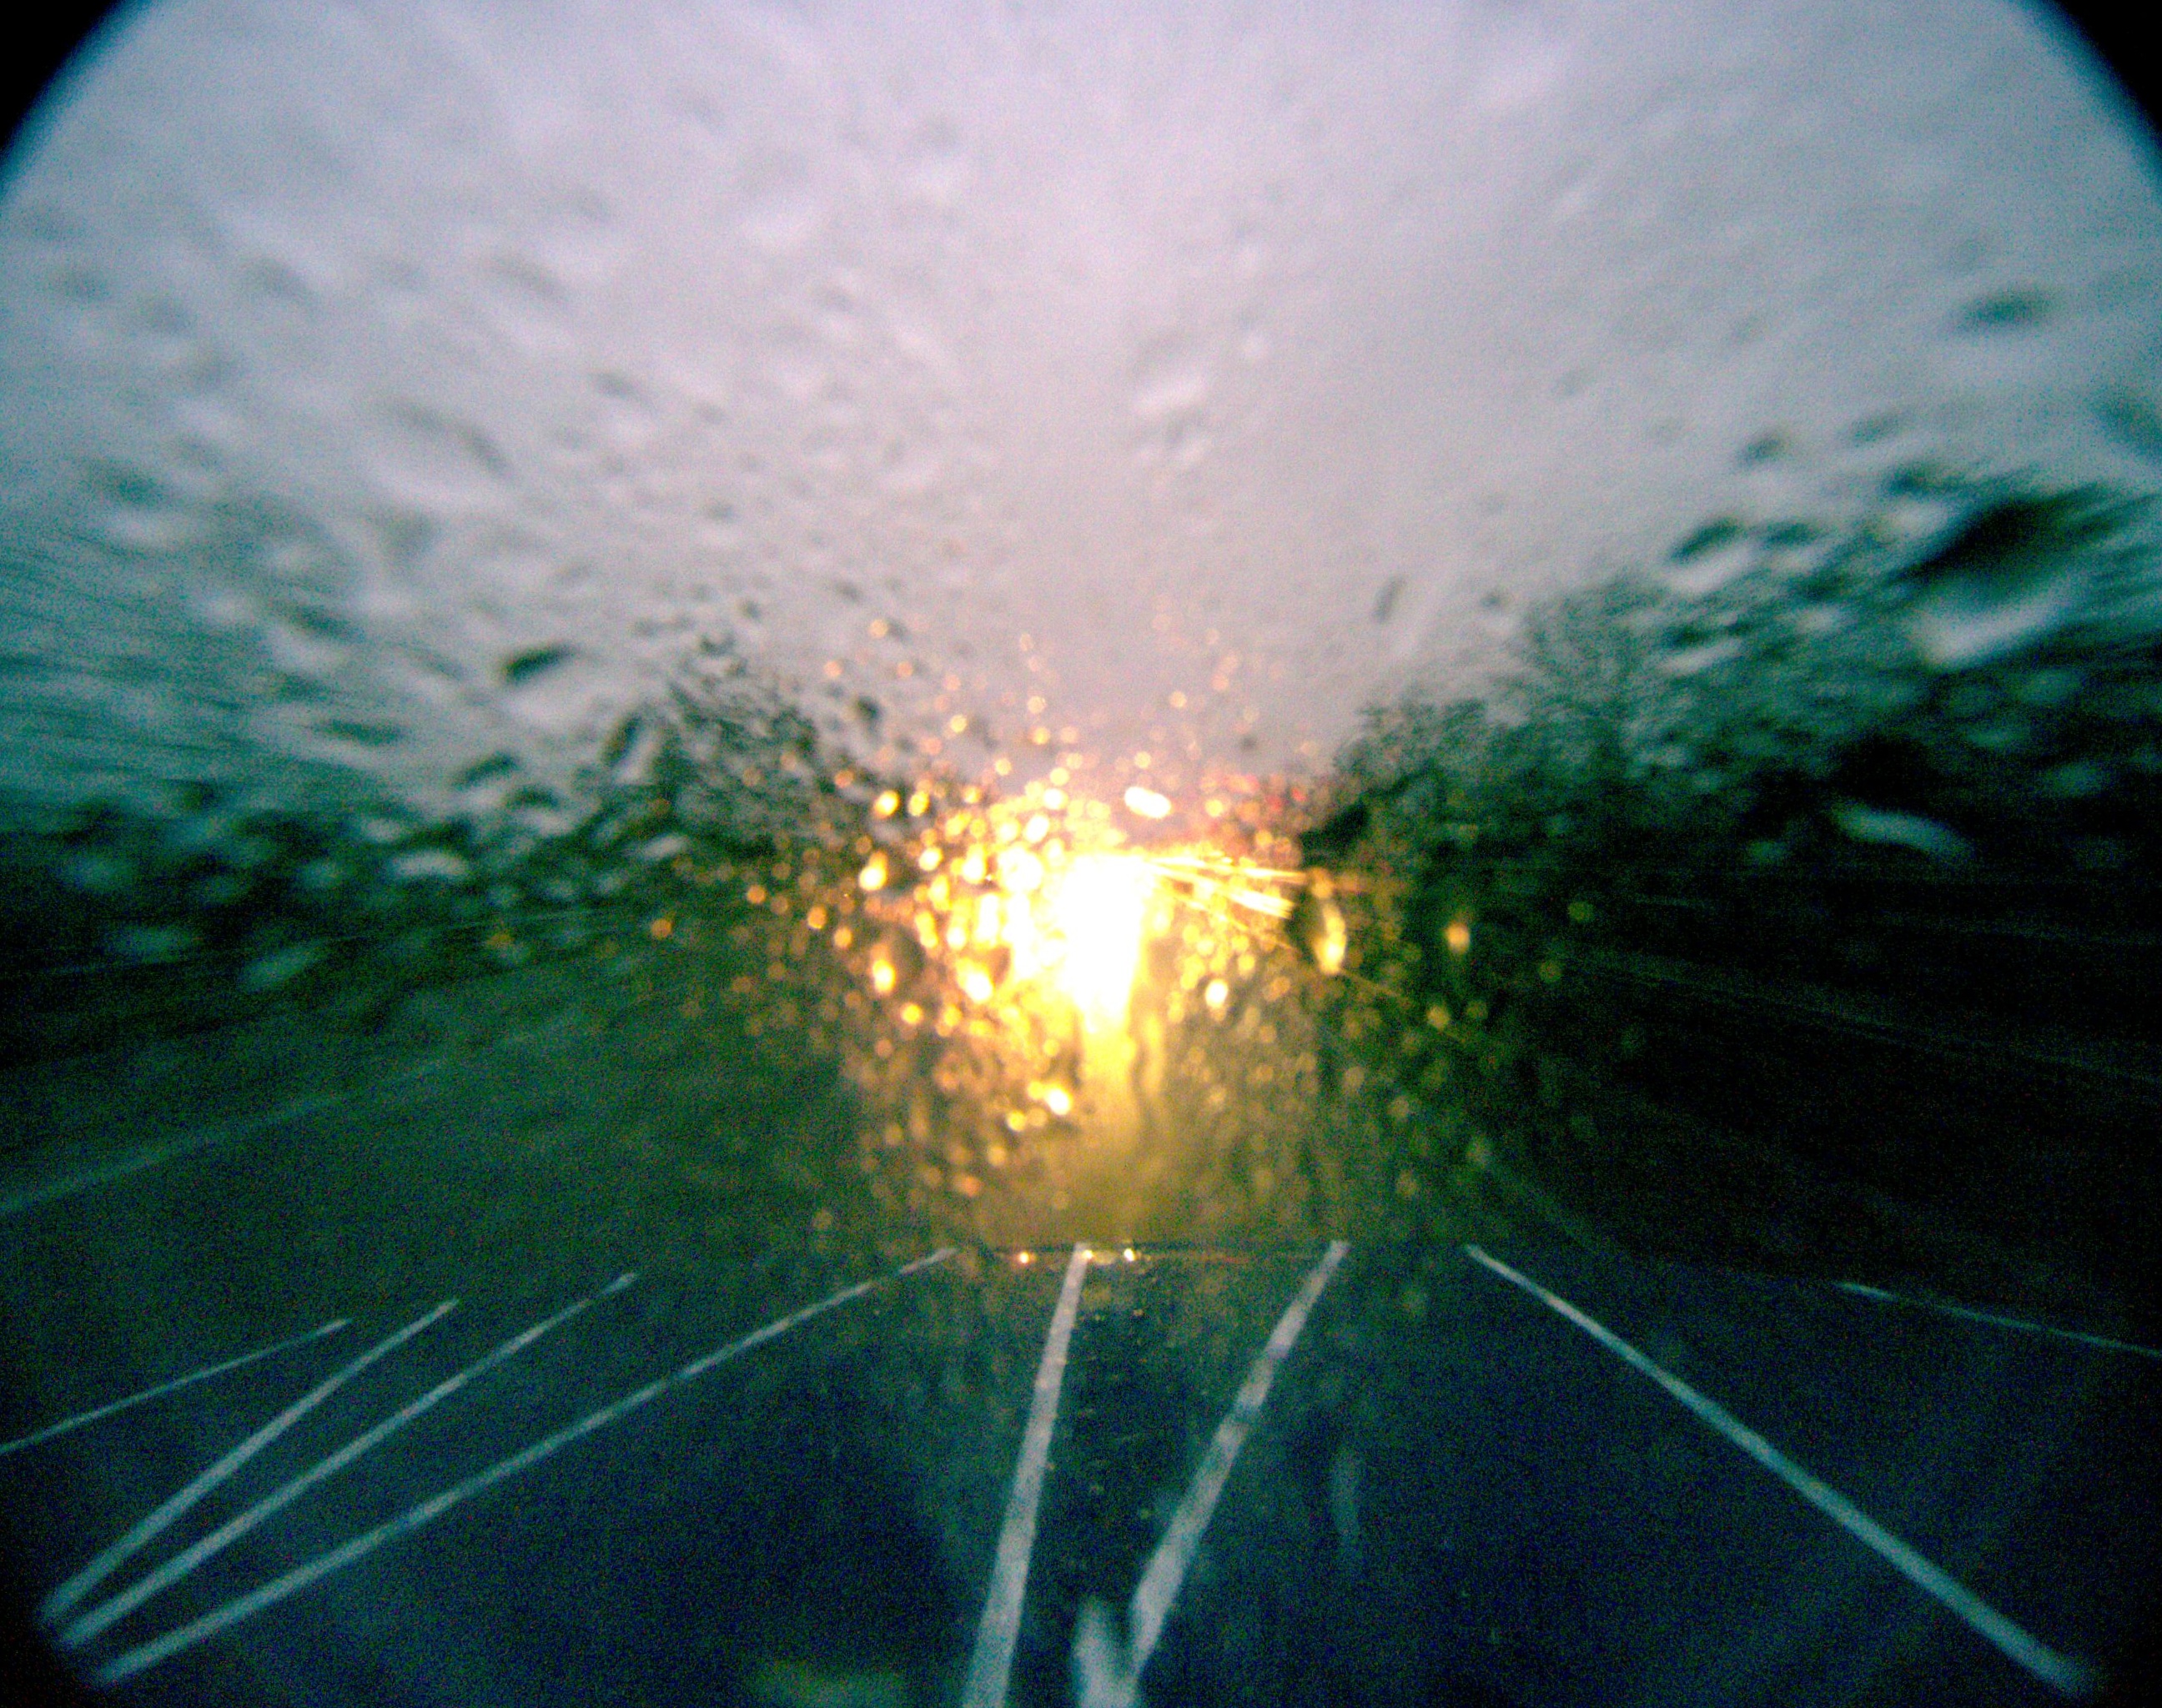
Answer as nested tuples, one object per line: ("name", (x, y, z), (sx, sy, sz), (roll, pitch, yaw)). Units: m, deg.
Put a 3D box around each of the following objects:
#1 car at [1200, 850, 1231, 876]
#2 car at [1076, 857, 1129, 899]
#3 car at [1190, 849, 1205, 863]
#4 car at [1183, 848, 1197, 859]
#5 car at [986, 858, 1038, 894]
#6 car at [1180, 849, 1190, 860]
("car", (9.253, 0.586, 52.452), (1.744, 1.630, 4.001), (-4, 0, 6))
("car", (0.940, 0.893, 30.632), (1.849, 1.521, 4.150), (-2, 0, 5))
("car", (16.052, 0.196, 104.815), (1.749, 1.823, 4.135), (0, 1, 3))
("car", (19.321, -0.113, 134.612), (1.938, 1.961, 4.541), (-2, 0, 13))
("car", (-3.206, 1.005, 36.226), (1.850, 1.521, 4.149), (-2, 0, 3))
("car", (23.445, 0.190, 171.264), (1.849, 2.422, 5.418), (-2, 0, 5))
